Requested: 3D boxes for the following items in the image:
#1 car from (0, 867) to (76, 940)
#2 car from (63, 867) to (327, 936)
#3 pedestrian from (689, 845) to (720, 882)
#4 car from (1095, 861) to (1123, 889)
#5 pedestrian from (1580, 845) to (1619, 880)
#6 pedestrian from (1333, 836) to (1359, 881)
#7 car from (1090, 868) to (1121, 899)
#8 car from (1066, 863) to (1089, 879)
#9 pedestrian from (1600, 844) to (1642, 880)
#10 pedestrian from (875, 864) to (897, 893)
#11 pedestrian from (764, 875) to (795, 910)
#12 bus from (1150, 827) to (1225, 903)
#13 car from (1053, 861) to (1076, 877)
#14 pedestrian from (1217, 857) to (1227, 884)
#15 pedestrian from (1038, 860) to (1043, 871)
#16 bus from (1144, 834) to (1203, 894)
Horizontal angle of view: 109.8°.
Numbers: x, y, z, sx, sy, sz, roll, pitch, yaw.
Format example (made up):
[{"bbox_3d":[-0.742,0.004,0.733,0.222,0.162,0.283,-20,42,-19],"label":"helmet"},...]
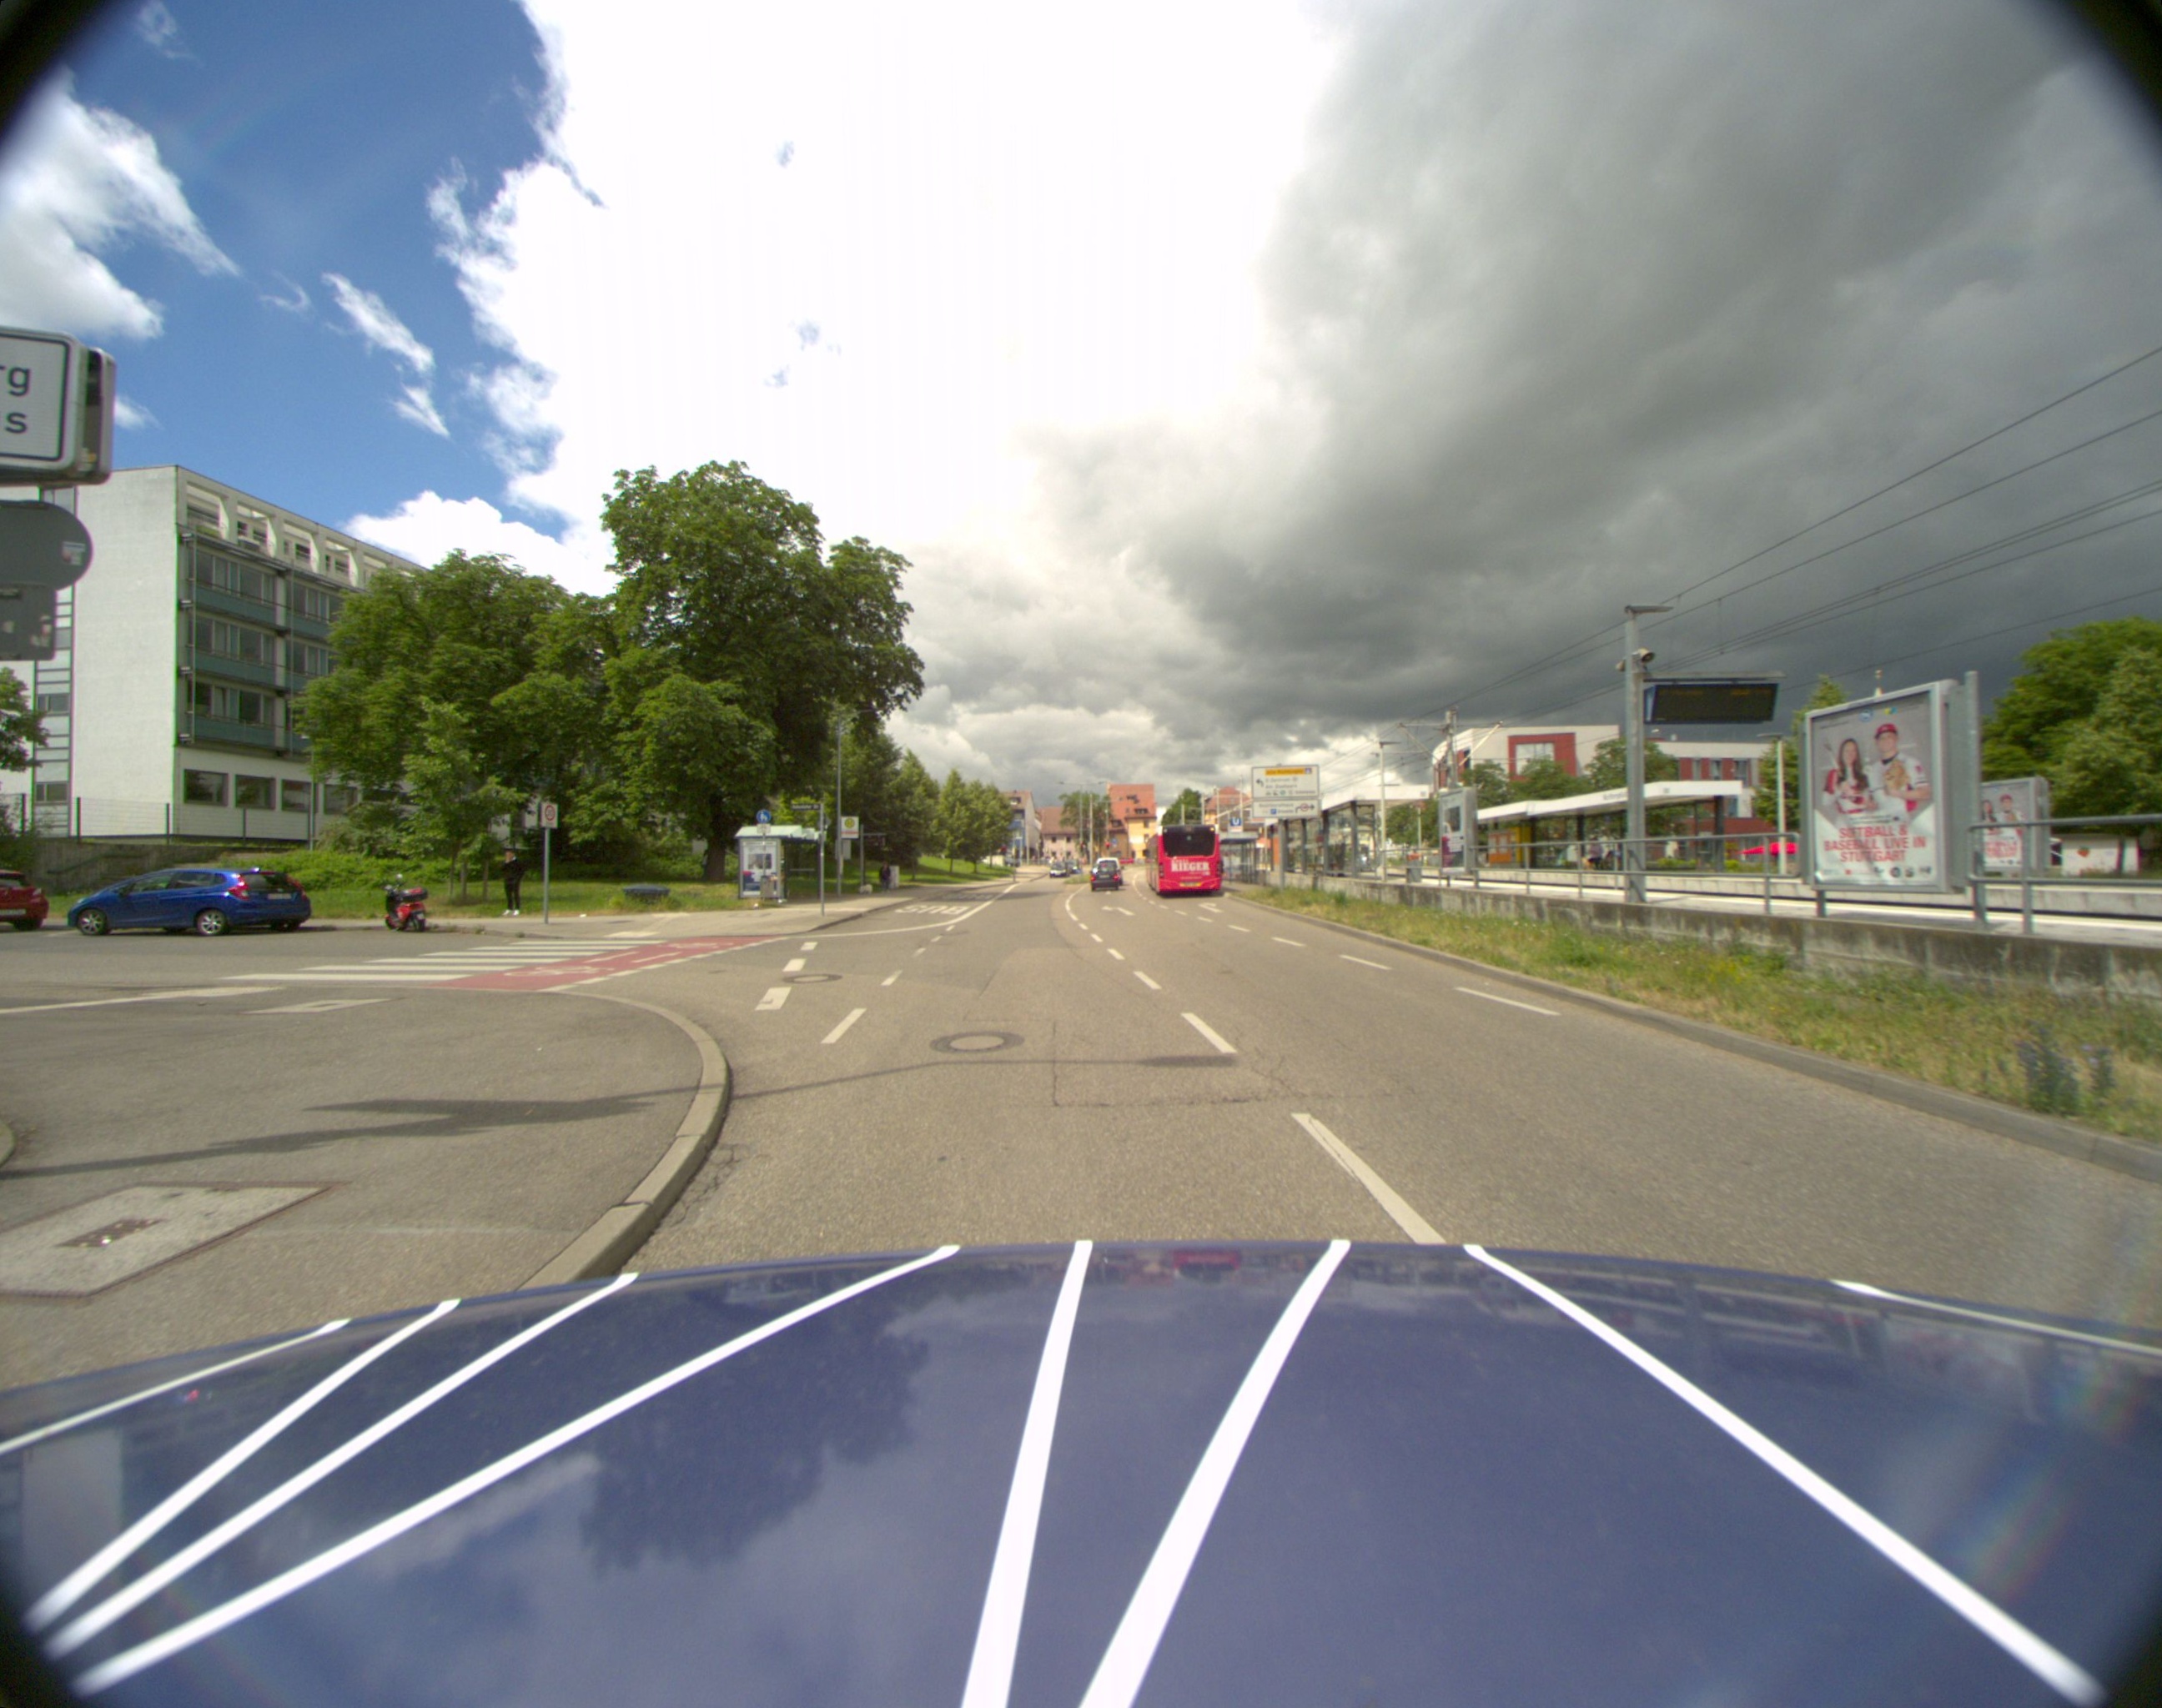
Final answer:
[{"bbox_3d":[-26.285,1.170,17.555,3.695,1.633,1.830,-1,-2,1],"label":"car"},{"bbox_3d":[-20.224,1.077,17.481,3.803,1.447,1.897,1,-2,1],"label":"car"},{"bbox_3d":[-18.153,0.447,36.657,0.987,1.750,0.859,0,0,13],"label":"pedestrian"},{"bbox_3d":[1.818,1.424,50.077,1.766,1.651,4.510,0,-5,1],"label":"car"},{"bbox_3d":[19.543,0.339,28.640,0.758,1.284,1.113,-1,0,5],"label":"pedestrian"},{"bbox_3d":[9.746,0.174,27.999,0.689,1.646,0.701,-1,-2,3],"label":"pedestrian"},{"bbox_3d":[1.400,1.606,42.750,1.533,1.542,3.734,-3,0,4],"label":"car"},{"bbox_3d":[-0.386,1.894,82.654,1.998,1.639,4.423,-1,-2,6],"label":"car"},{"bbox_3d":[19.486,0.292,27.428,0.758,1.284,1.113,-1,0,5],"label":"pedestrian"},{"bbox_3d":[-9.839,1.221,38.349,0.821,1.416,0.830,-1,0,4],"label":"pedestrian"},{"bbox_3d":[-11.142,1.409,28.122,0.829,1.251,0.686,-1,-1,6],"label":"pedestrian"},{"bbox_3d":[4.705,0.501,35.110,2.732,3.051,8.967,0,-1,4],"label":"bus"},{"bbox_3d":[-1.586,1.523,75.706,1.881,1.420,4.003,-1,-2,4],"label":"car"},{"bbox_3d":[7.472,0.865,40.244,0.422,1.394,0.409,-2,-2,15],"label":"pedestrian"},{"bbox_3d":[-6.505,1.830,122.408,0.754,1.739,0.586,0,0,-24],"label":"pedestrian"},{"bbox_3d":[5.239,0.625,44.521,2.732,3.090,9.708,-1,-1,3],"label":"bus"}]
